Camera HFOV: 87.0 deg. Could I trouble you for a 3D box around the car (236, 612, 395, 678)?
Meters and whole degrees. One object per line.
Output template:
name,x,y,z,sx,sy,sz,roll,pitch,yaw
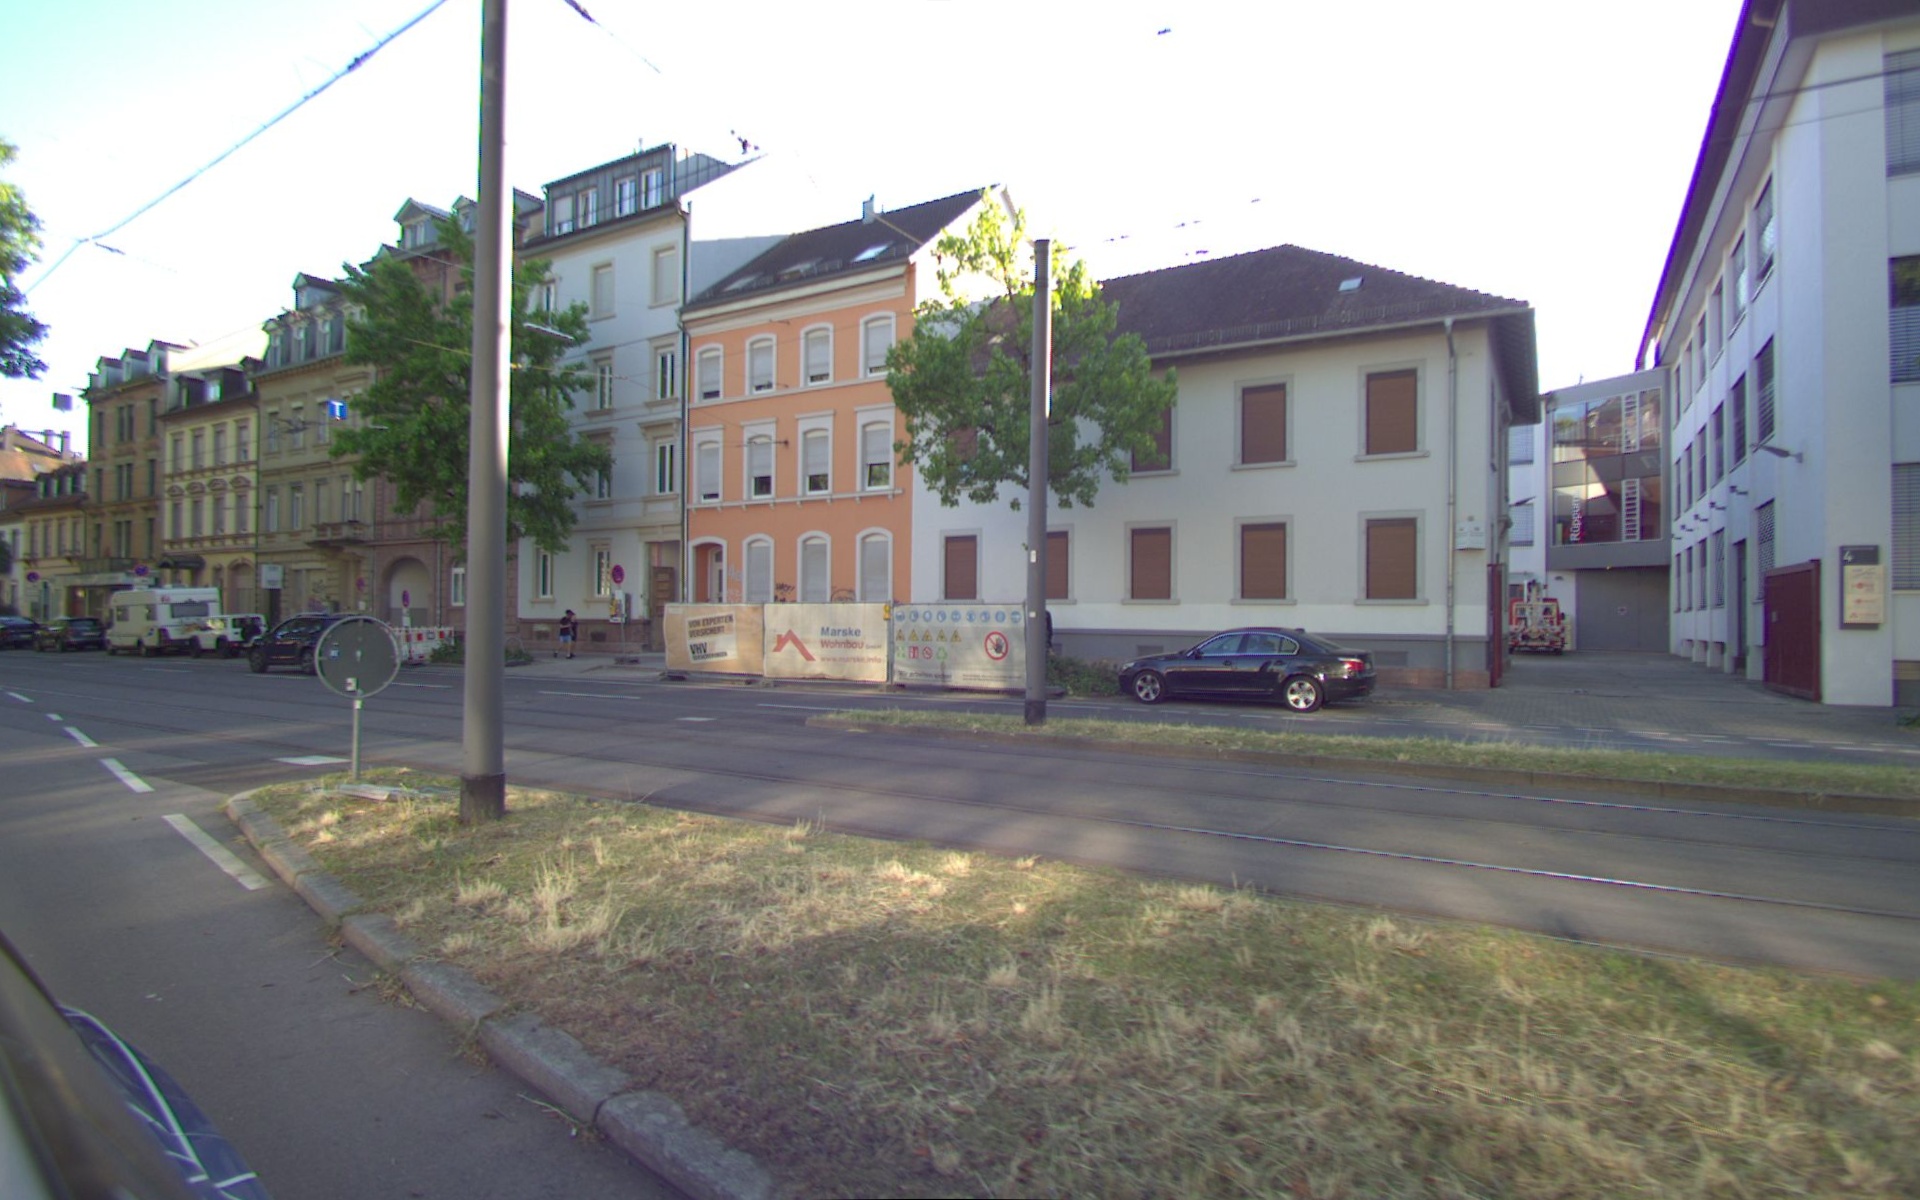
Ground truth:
car,-17.927,1.219,28.139,4.293,1.702,1.979,-1,-2,30

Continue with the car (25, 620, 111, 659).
car,-42.701,1.860,48.405,4.427,1.718,1.797,-1,1,31

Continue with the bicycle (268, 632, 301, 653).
bicycle,-30.512,1.899,45.699,1.787,0.931,0.573,-1,-2,34

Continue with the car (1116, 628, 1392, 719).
car,5.530,1.303,19.199,4.708,1.525,1.979,-1,-2,31

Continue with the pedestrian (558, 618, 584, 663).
pedestrian,-13.127,1.363,34.170,0.605,1.472,0.571,-1,0,31

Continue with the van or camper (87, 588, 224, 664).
van or camper,-34.606,1.074,43.448,7.229,2.969,2.400,-1,1,33

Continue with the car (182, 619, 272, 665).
car,-29.190,1.631,40.302,3.356,1.718,1.620,-1,1,29

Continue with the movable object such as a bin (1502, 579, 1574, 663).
movable object such as a bin,22.940,0.727,40.227,2.279,3.026,6.056,-1,1,29

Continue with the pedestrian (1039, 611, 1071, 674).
pedestrian,2.420,1.075,25.767,0.637,1.582,0.590,-1,-2,30

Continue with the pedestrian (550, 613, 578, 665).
pedestrian,-13.041,1.281,33.332,0.686,1.666,0.562,-1,0,36

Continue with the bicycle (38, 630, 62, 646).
bicycle,-56.053,2.341,62.337,2.113,0.976,0.500,-1,-2,33

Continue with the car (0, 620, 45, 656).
car,-49.376,1.929,52.152,4.733,1.715,1.979,-1,1,31
